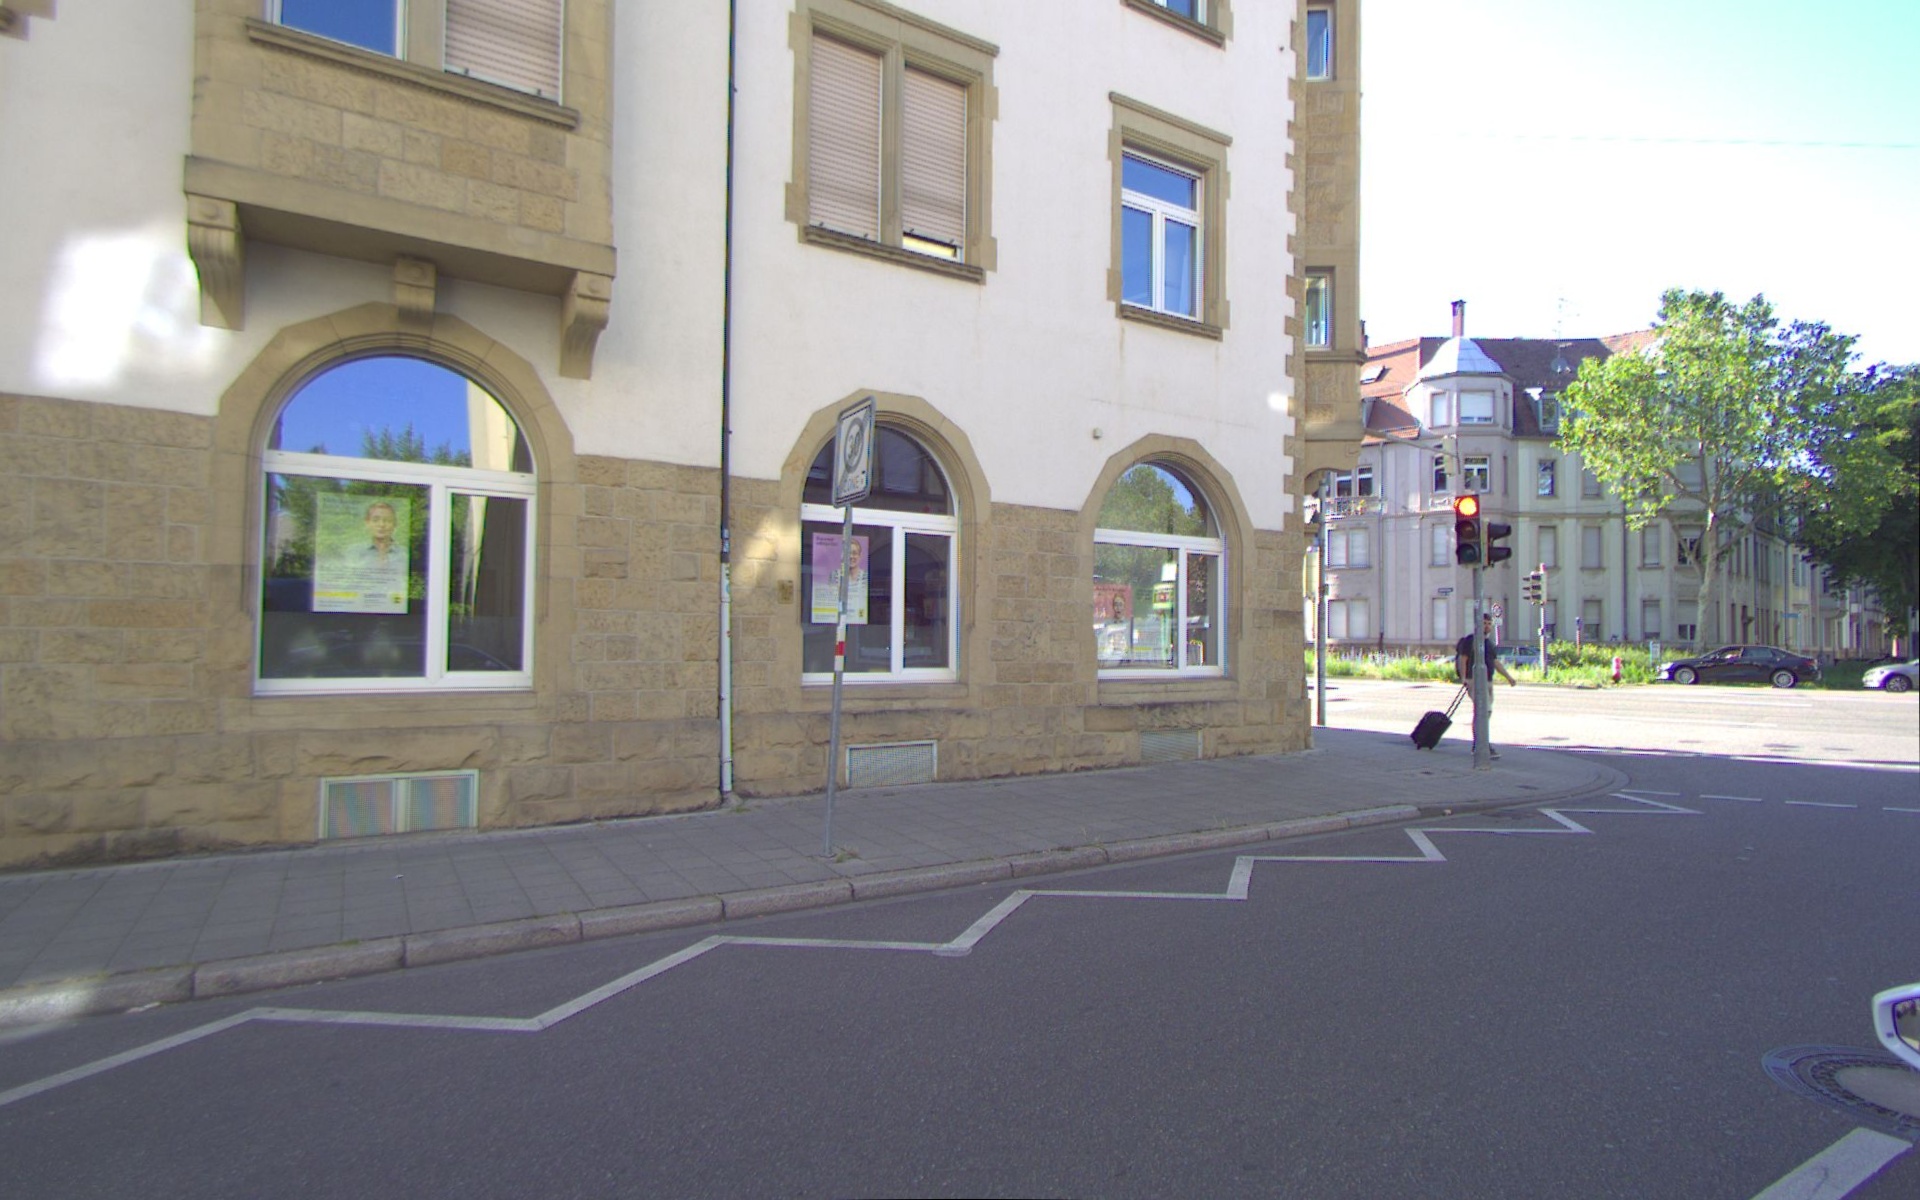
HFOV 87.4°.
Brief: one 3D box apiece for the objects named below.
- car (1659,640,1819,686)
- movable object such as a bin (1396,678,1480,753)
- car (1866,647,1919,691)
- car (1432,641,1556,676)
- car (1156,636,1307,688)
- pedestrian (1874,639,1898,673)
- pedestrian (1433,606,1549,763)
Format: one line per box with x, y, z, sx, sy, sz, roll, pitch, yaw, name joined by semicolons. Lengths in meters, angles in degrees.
26.547;2.121;34.342;4.216;1.419;1.639;-1;-2;40;car
6.257;1.498;13.164;0.506;0.904;0.854;2;-3;-42;movable object such as a bin
32.631;2.320;33.311;3.736;1.419;1.639;-1;-2;40;car
22.229;2.403;41.926;4.336;1.334;1.638;-1;-2;41;car
8.173;1.827;30.454;4.155;1.476;1.669;-2;-2;42;car
41.228;2.499;44.722;0.693;1.461;0.488;2;0;34;pedestrian
6.861;1.053;12.993;0.743;1.873;1.056;2;2;-42;pedestrian
